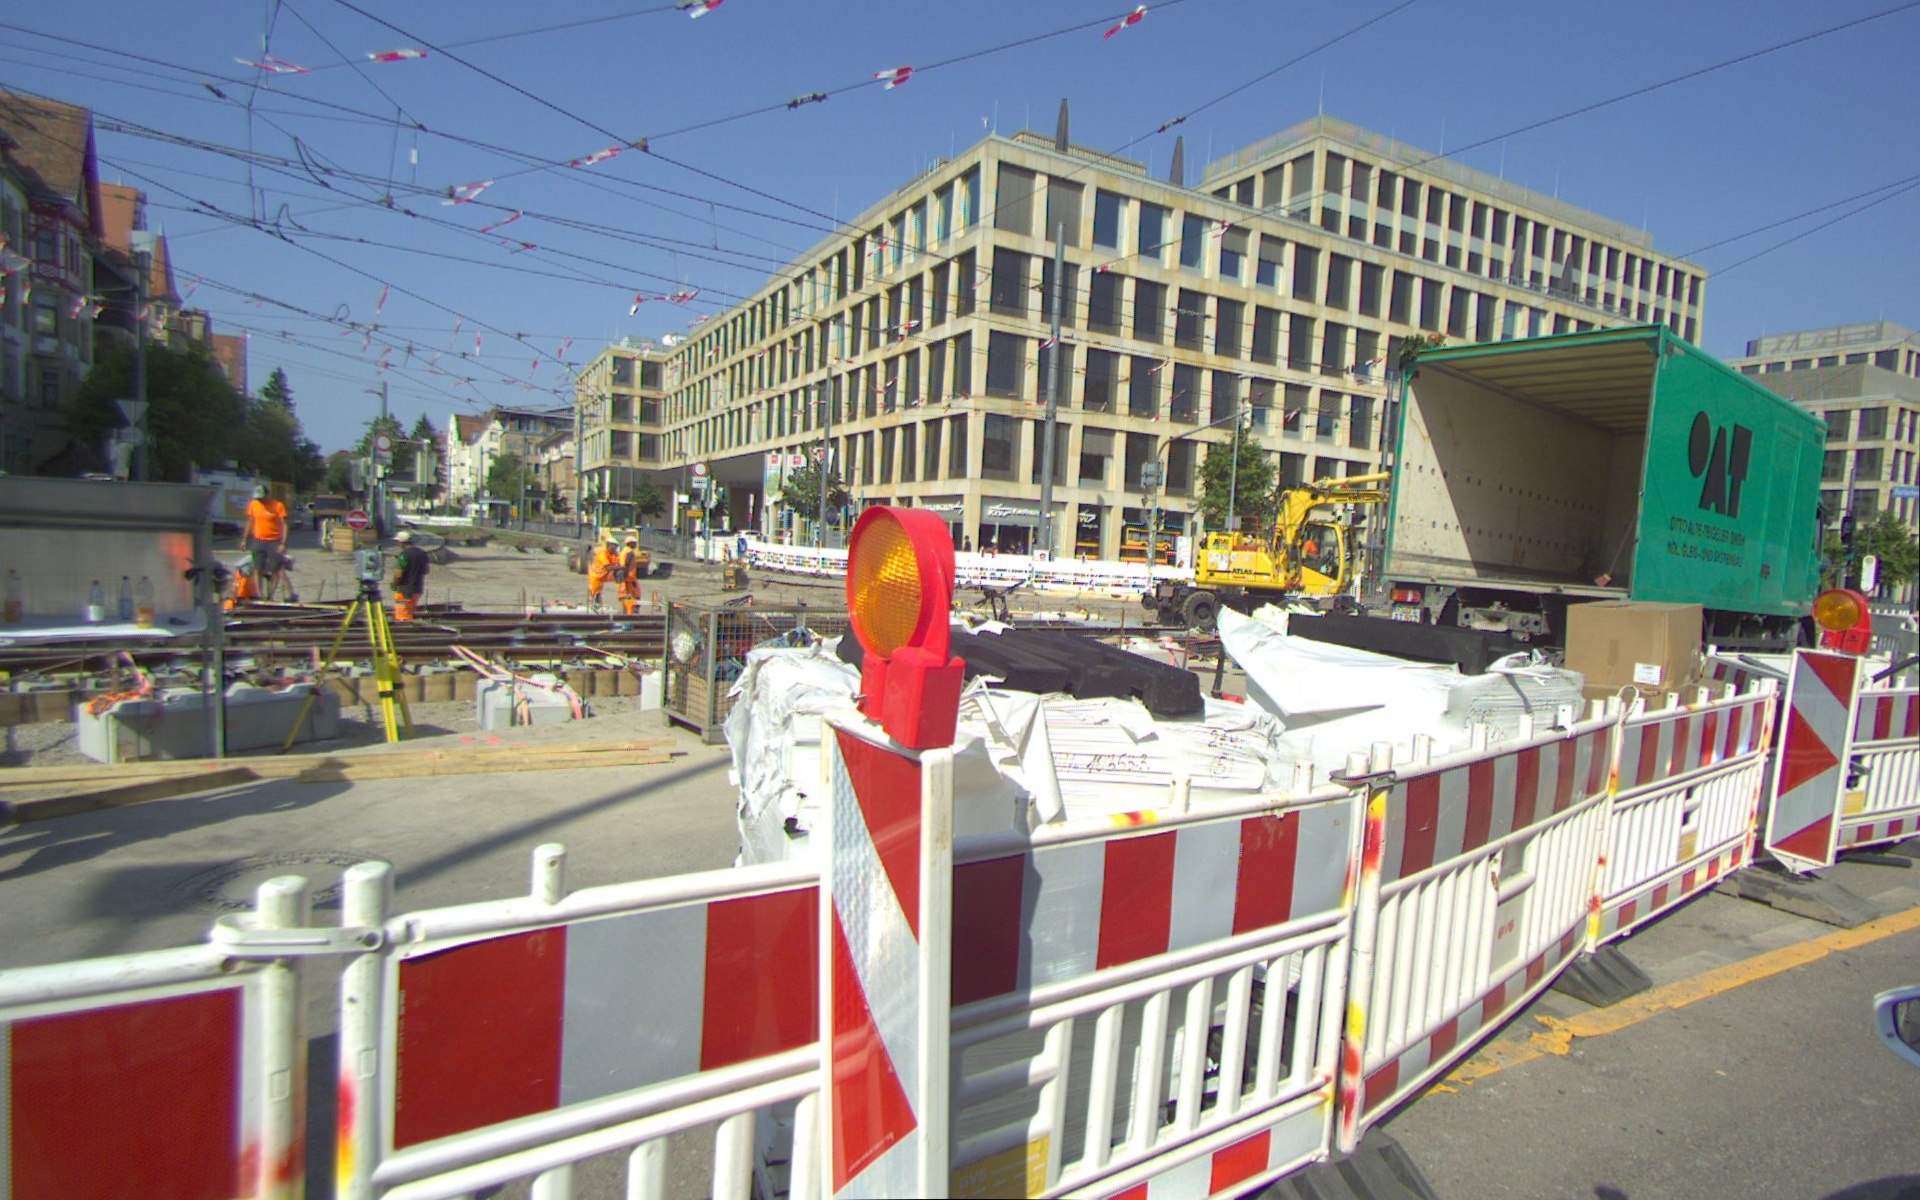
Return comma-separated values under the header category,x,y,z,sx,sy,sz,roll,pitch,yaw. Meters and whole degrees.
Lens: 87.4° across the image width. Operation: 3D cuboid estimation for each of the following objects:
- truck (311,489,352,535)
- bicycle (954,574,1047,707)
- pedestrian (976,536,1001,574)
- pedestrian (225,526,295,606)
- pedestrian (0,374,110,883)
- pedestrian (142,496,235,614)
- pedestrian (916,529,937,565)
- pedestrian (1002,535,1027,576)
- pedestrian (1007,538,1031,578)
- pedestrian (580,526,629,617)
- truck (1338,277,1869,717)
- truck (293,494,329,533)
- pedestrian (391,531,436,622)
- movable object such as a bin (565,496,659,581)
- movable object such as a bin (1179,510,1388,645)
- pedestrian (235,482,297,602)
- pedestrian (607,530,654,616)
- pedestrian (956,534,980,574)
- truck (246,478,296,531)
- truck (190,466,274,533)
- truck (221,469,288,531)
category,x,y,z,sx,sy,sz,roll,pitch,yaw
truck,-41.842,-5.837,66.969,2.213,2.828,6.301,1,4,-31
bicycle,0.459,0.363,10.480,0.662,1.164,1.800,4,4,10
pedestrian,1.294,-2.026,45.319,0.830,1.691,0.725,1,3,-27
pedestrian,-11.161,-0.529,16.019,0.859,1.199,0.724,3,0,-36
pedestrian,-3.942,0.088,3.771,0.903,1.866,0.801,4,3,20
pedestrian,-10.765,-0.628,14.026,0.738,1.577,0.737,4,3,19
pedestrian,-1.613,-2.531,47.918,0.721,1.691,0.640,1,3,-29
pedestrian,2.316,-1.886,42.867,0.720,1.691,0.761,1,3,-25
pedestrian,2.583,-1.862,44.145,0.720,1.691,0.761,1,3,-25
pedestrian,-7.025,-0.572,19.870,0.745,1.725,0.740,2,3,-10
truck,8.558,-0.929,12.691,8.937,3.840,2.785,0,3,-39
truck,-51.517,-6.840,79.768,2.213,2.828,5.548,1,4,-31
pedestrian,-7.900,-0.344,14.514,0.541,1.264,0.673,1,3,-30
movable object such as a bin,-13.265,-2.364,38.038,2.460,2.827,5.479,3,3,-28
movable object such as a bin,8.705,-0.672,27.143,3.544,3.266,4.071,0,4,-44
pedestrian,-10.383,-0.856,15.046,0.670,1.725,0.747,1,3,-29
pedestrian,-6.833,-0.555,20.802,0.750,1.725,0.735,1,3,-30
pedestrian,0.357,-1.978,43.433,0.720,1.691,0.761,1,3,-25
truck,-43.447,-5.986,63.421,2.213,3.085,6.301,1,4,-31
truck,-34.646,-4.733,47.993,2.661,2.853,5.989,1,4,-31
truck,-39.107,-5.504,55.814,2.602,3.085,6.301,1,4,-31
